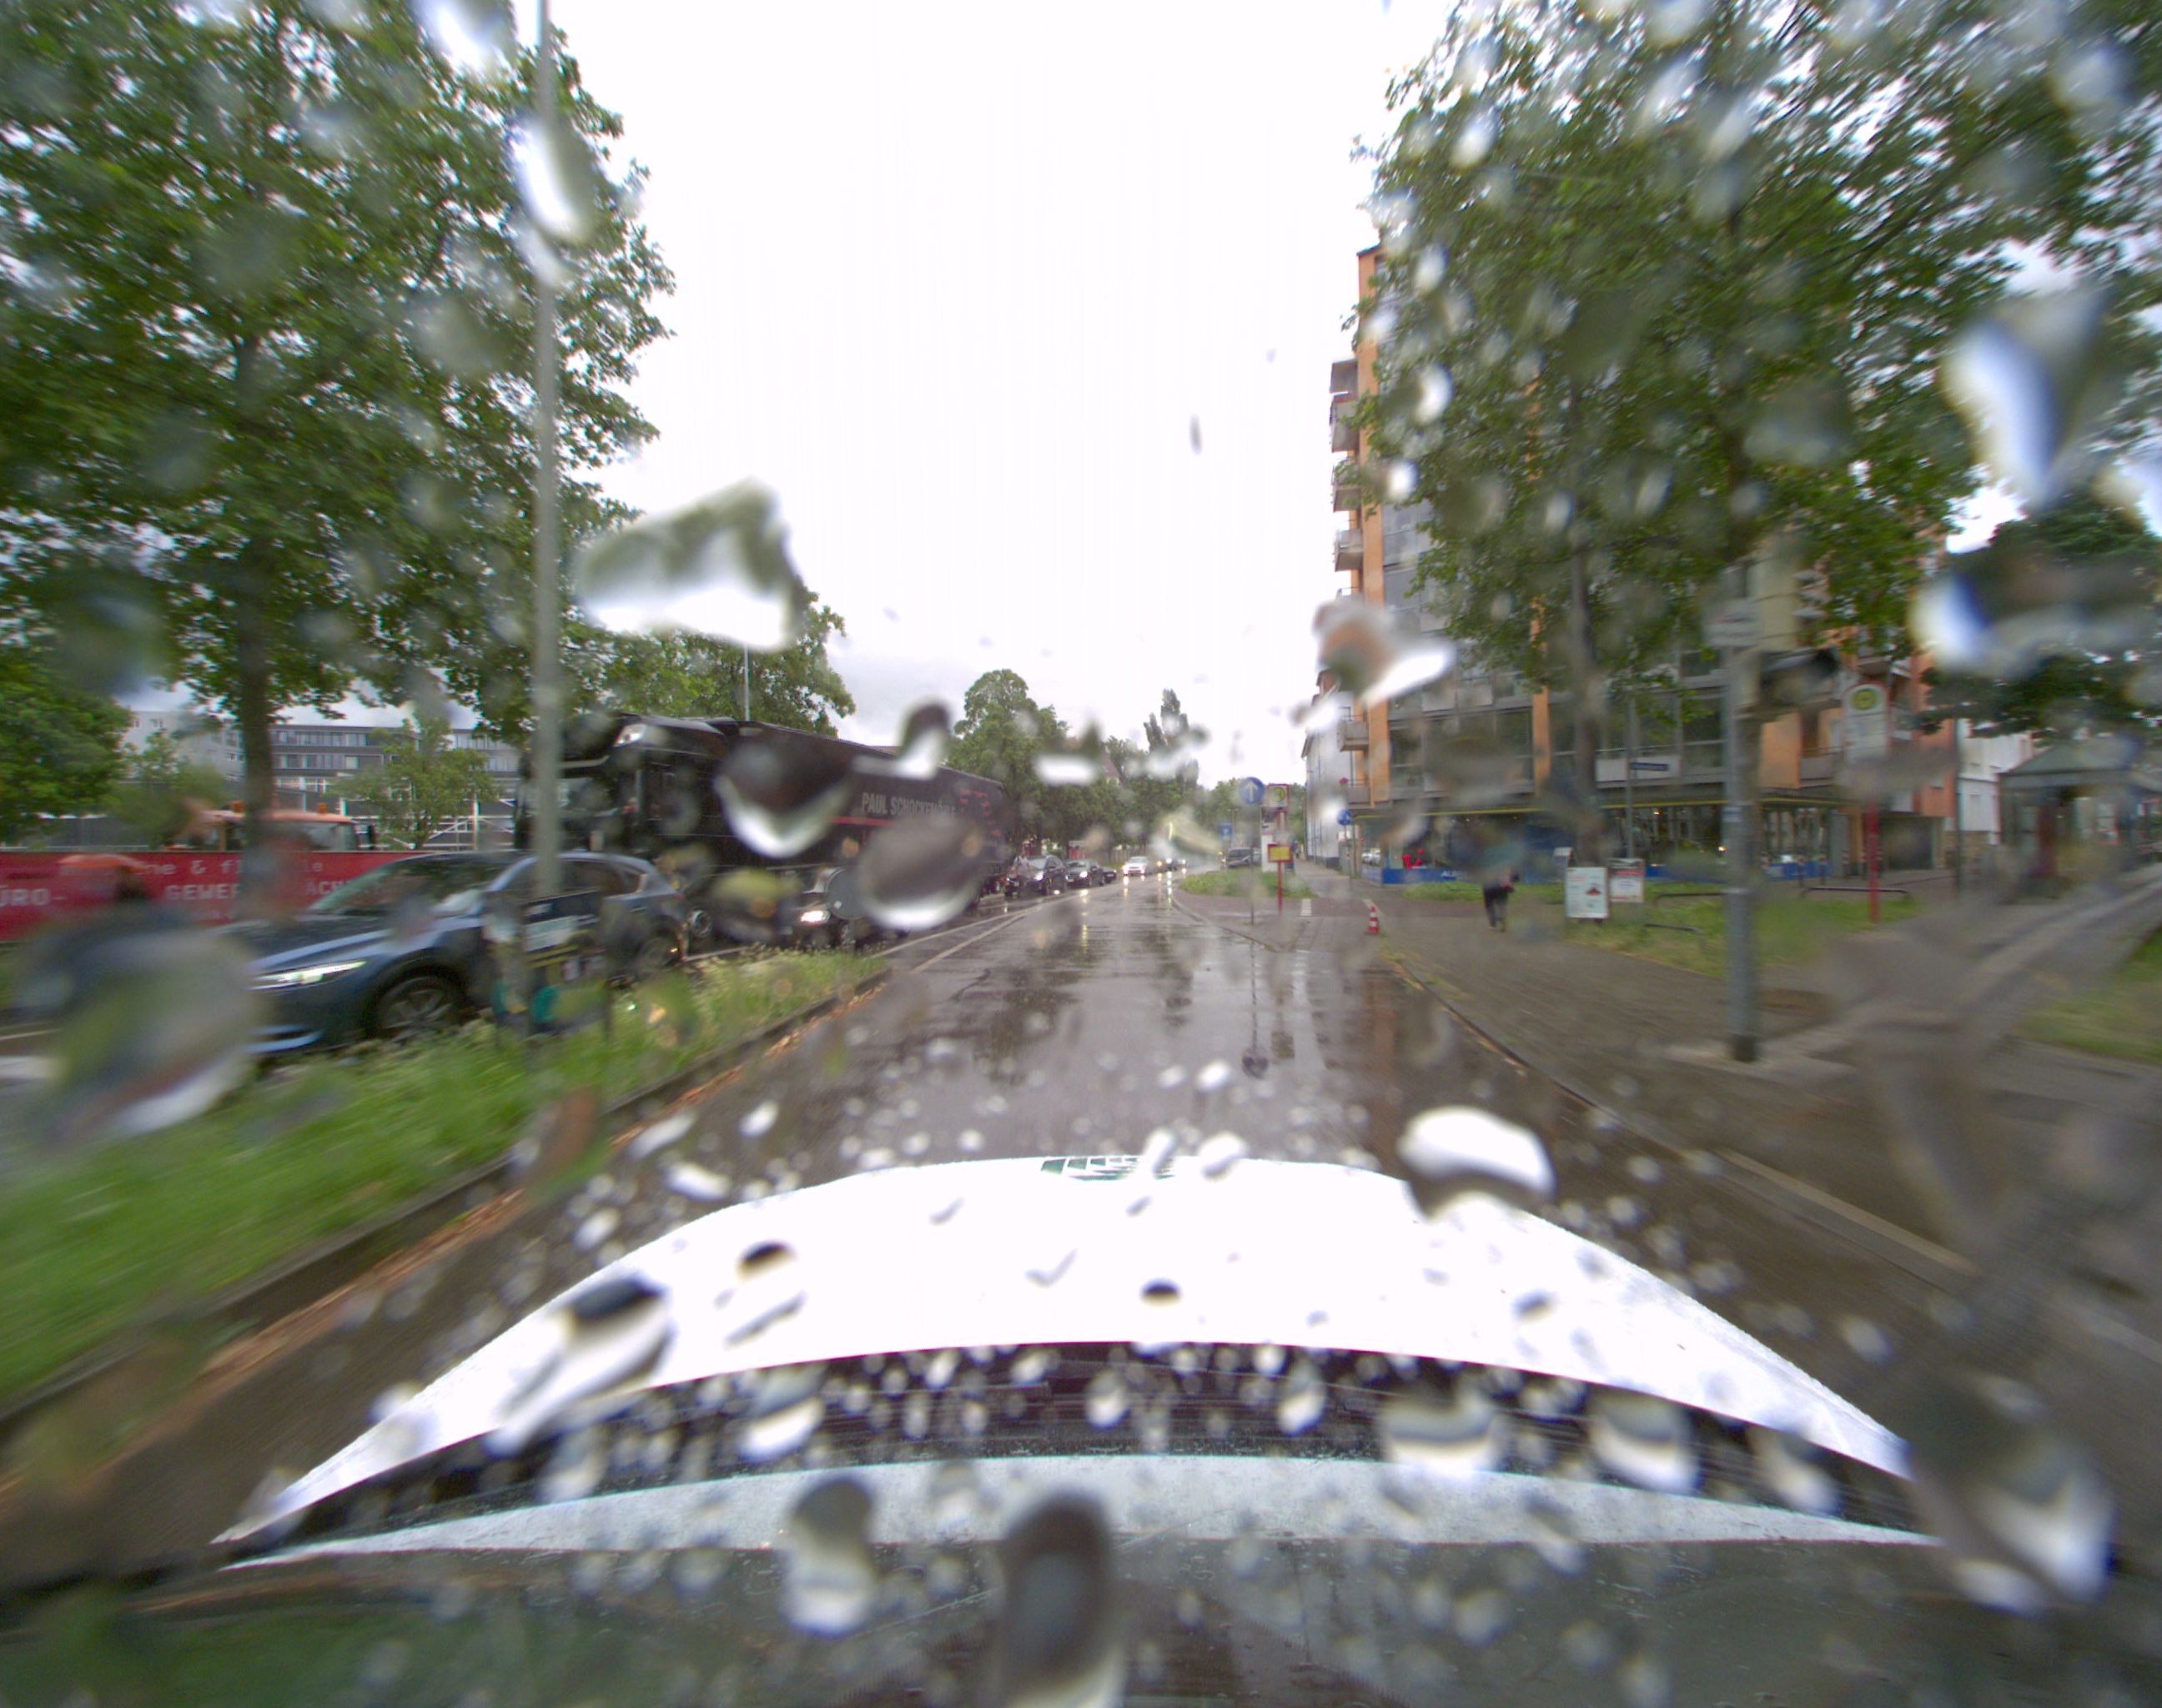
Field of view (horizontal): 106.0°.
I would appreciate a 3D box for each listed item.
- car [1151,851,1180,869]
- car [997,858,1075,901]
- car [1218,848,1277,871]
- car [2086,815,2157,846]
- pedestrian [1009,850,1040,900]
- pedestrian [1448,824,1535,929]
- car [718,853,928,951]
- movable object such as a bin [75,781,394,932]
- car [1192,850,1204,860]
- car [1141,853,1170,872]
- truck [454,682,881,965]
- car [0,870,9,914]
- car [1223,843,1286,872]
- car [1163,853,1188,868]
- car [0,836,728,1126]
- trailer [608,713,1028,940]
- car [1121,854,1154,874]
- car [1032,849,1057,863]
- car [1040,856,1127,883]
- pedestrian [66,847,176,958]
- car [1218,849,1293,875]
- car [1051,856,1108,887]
[{"bbox_3d":[7.746,0.525,74.199,1.900,1.639,4.841,-1,0,15],"label":"car"},{"bbox_3d":[-1.790,1.062,34.257,1.854,1.619,4.820,-2,-2,14],"label":"car"},{"bbox_3d":[12.287,0.427,60.037,4.162,1.568,1.895,-1,0,11],"label":"car"},{"bbox_3d":[50.051,-1.135,39.152,4.016,1.398,1.785,-2,0,-34],"label":"car"},{"bbox_3d":[-2.143,0.783,30.866,0.872,1.843,0.985,-2,0,-22],"label":"pedestrian"},{"bbox_3d":[7.653,0.408,15.263,1.161,1.865,1.391,-2,0,16],"label":"pedestrian"},{"bbox_3d":[-4.197,0.721,14.033,1.687,1.373,4.111,-1,1,10],"label":"car"},{"bbox_3d":[-19.152,0.084,18.418,6.696,2.930,2.791,-1,0,24],"label":"movable object such as a bin"},{"bbox_3d":[18.717,0.172,130.854,1.766,1.530,4.008,-1,2,6],"label":"car"},{"bbox_3d":[6.204,0.645,67.506,1.766,1.420,4.281,-2,0,13],"label":"car"},{"bbox_3d":[-7.064,-0.450,15.476,3.426,4.078,7.000,-1,0,13],"label":"truck"},{"bbox_3d":[-43.512,1.540,30.333,2.001,1.736,4.869,-1,0,-21],"label":"car"},{"bbox_3d":[12.206,0.253,57.429,4.206,1.805,1.950,-2,-1,10],"label":"car"},{"bbox_3d":[9.281,0.613,80.067,1.659,1.383,4.271,-1,0,17],"label":"car"},{"bbox_3d":[-5.609,0.714,7.475,2.062,1.682,4.941,1,2,8],"label":"car"},{"bbox_3d":[-5.401,-0.538,22.303,3.418,4.049,15.107,-2,0,14],"label":"trailer"},{"bbox_3d":[4.228,0.704,60.469,1.763,1.403,4.846,-1,0,12],"label":"car"},{"bbox_3d":[-4.460,0.250,99.413,1.852,1.573,3.970,0,-1,-22],"label":"car"},{"bbox_3d":[0.084,0.882,46.614,2.098,1.454,4.867,-2,0,-45],"label":"car"},{"bbox_3d":[-15.149,0.738,12.881,0.911,1.649,0.746,-2,0,-33],"label":"pedestrian"},{"bbox_3d":[10.950,0.471,51.079,4.501,1.470,1.990,-2,-1,13],"label":"car"},{"bbox_3d":[-0.014,0.836,40.459,1.714,1.361,4.355,-2,0,15],"label":"car"}]
